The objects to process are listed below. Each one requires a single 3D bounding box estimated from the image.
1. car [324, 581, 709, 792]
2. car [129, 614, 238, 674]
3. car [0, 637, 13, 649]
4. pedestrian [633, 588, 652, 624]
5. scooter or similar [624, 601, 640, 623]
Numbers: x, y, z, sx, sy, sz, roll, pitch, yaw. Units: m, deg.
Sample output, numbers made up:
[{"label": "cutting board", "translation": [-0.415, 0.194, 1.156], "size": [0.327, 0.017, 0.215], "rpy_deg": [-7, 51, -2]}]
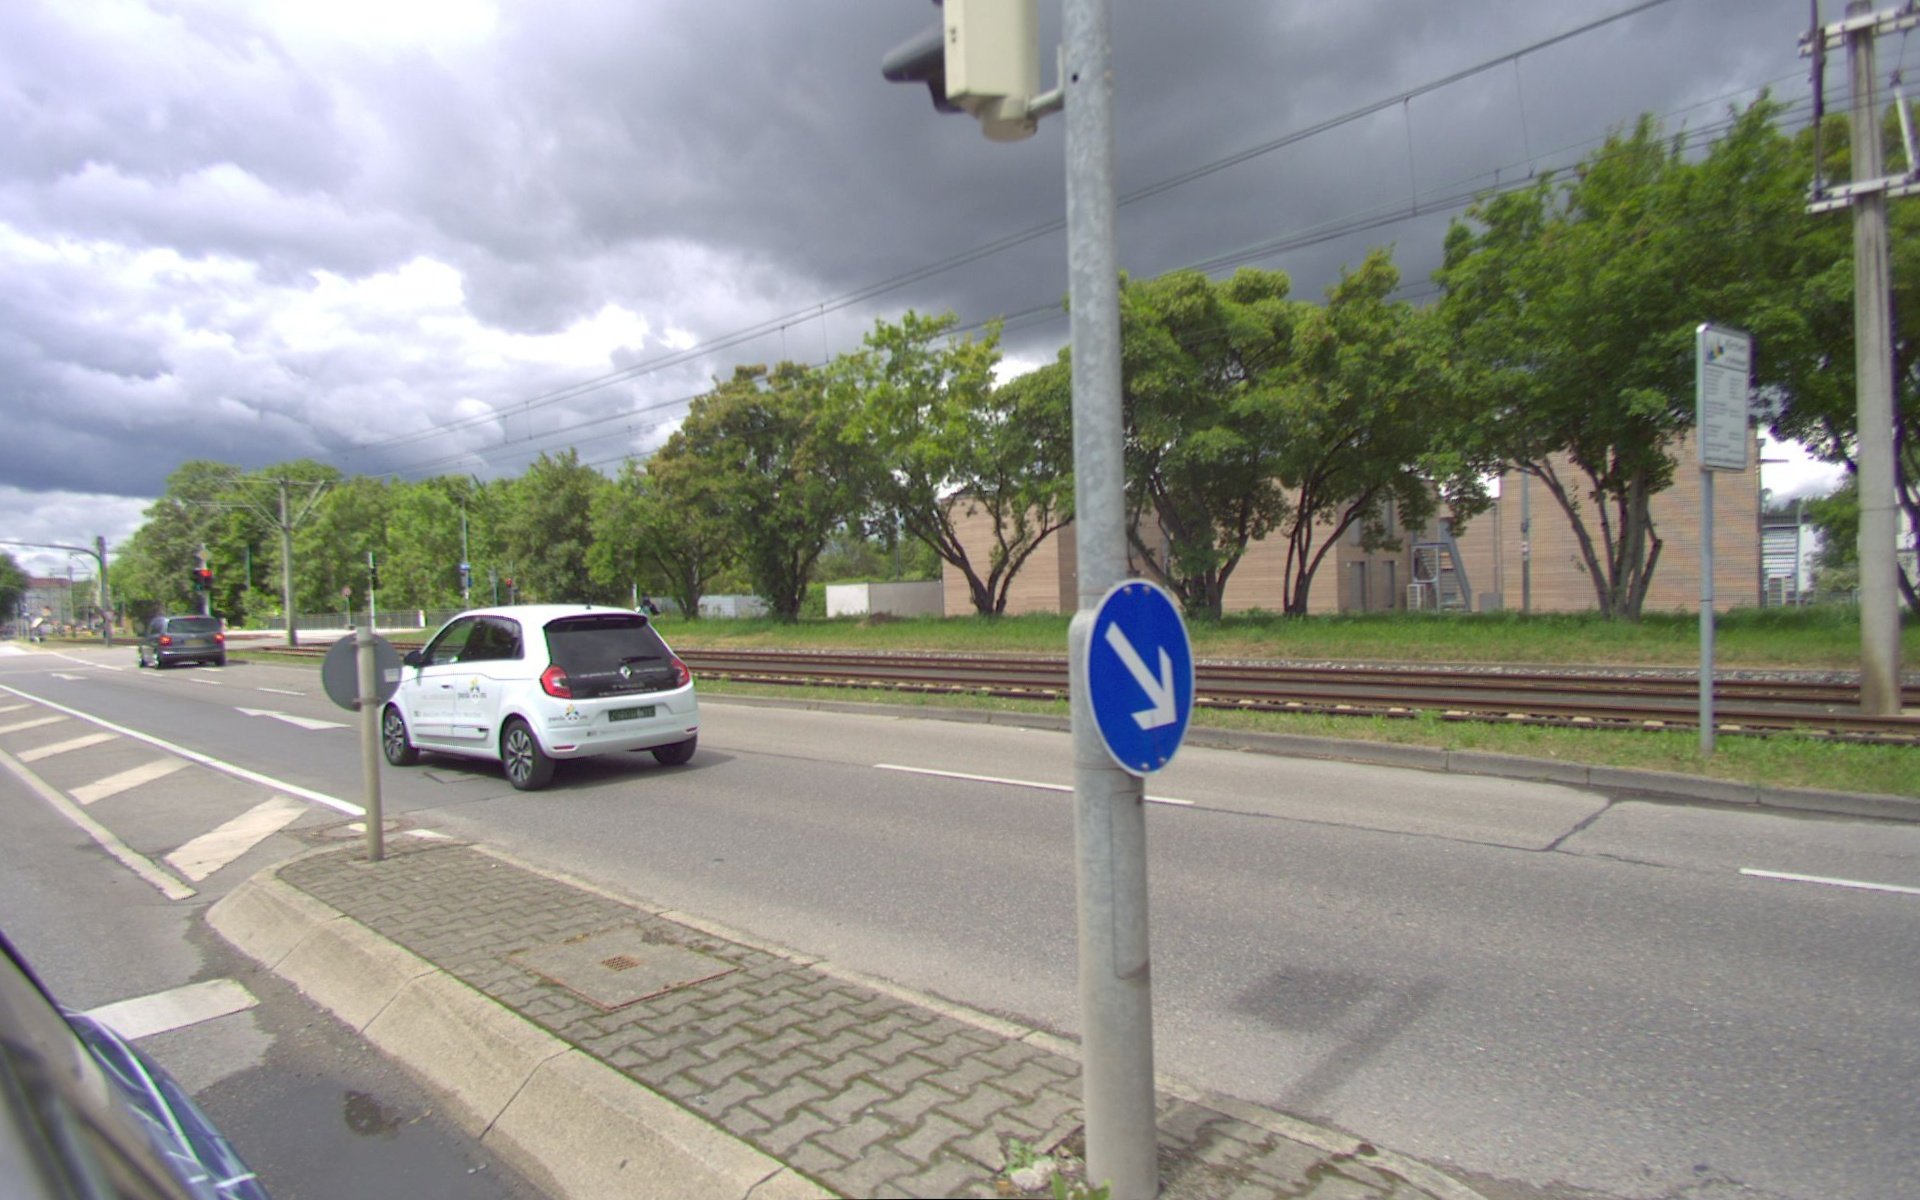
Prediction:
[{"label": "car", "translation": [-4.437, 0.691, 9.824], "size": [4.260, 1.624, 1.711], "rpy_deg": [-1, -1, 40]}, {"label": "car", "translation": [-24.751, 1.340, 32.202], "size": [4.522, 1.672, 1.972], "rpy_deg": [-1, 2, 43]}, {"label": "car", "translation": [-132.593, 5.968, 140.210], "size": [4.855, 1.358, 1.765], "rpy_deg": [-1, 2, 45]}, {"label": "pedestrian", "translation": [-15.641, 0.312, 49.824], "size": [0.799, 1.736, 0.485], "rpy_deg": [-1, 1, 41]}, {"label": "scooter or similar", "translation": [-16.311, 0.582, 50.327], "size": [0.717, 1.084, 0.376], "rpy_deg": [-1, 1, 41]}]
